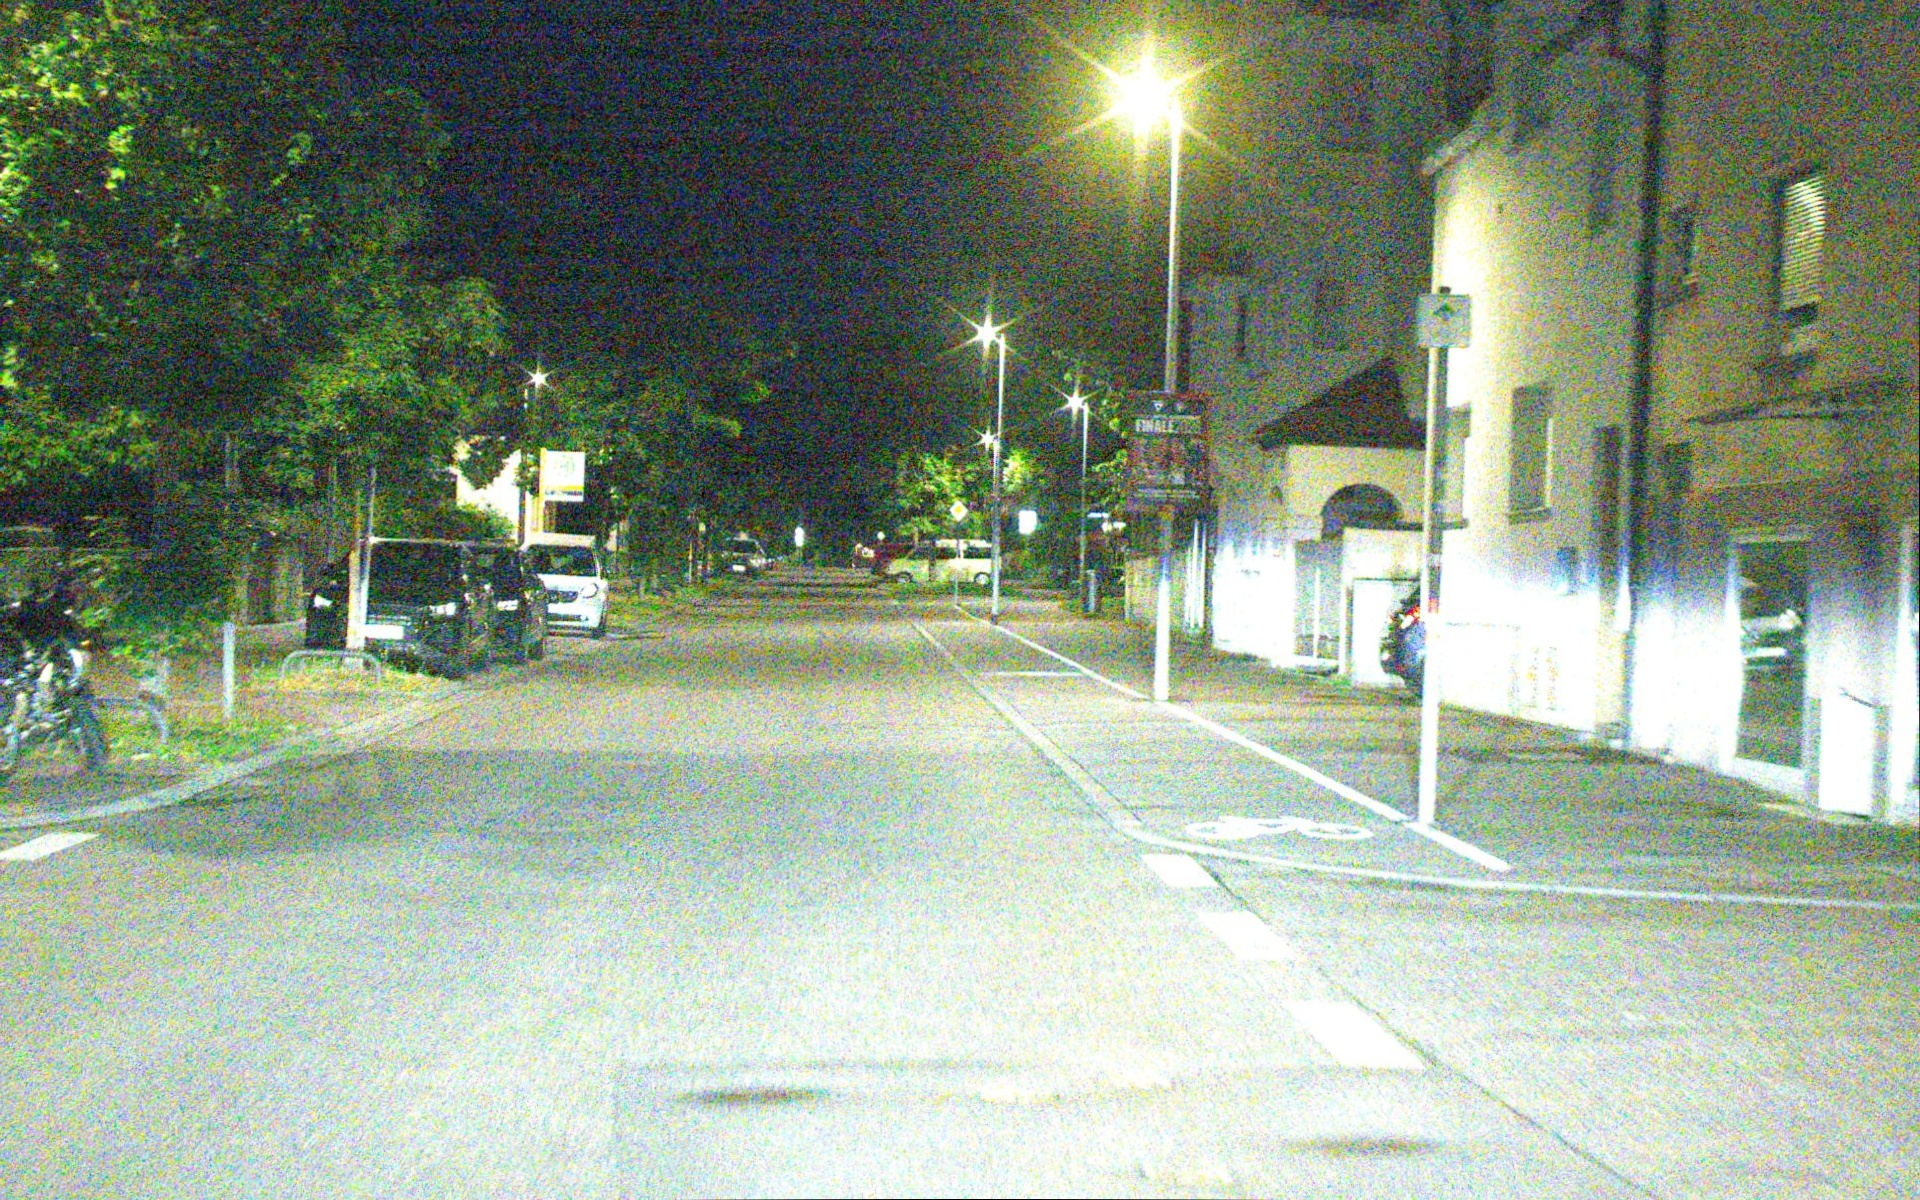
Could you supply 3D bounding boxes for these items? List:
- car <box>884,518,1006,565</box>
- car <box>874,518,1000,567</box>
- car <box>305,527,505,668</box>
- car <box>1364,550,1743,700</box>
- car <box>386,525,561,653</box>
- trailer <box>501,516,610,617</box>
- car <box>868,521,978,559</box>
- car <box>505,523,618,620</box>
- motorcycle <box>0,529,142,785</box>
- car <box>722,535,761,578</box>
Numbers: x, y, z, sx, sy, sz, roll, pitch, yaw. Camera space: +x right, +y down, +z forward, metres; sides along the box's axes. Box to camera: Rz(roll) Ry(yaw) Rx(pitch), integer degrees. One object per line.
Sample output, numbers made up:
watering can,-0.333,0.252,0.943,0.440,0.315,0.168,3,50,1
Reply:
car,-0.662,-2.538,148.292,5.182,2.007,2.102,0,1,-3
car,-0.991,-2.448,145.214,5.182,2.007,2.102,0,1,-3
car,-6.337,-0.070,39.643,1.688,1.505,4.279,1,1,-1
car,6.254,0.249,36.512,3.711,1.468,1.730,1,1,1
car,-6.281,-0.183,44.781,1.766,1.514,4.279,2,1,-2
trailer,-7.262,-0.621,61.953,1.448,1.682,3.426,4,1,1
car,-1.834,-2.968,169.973,5.184,1.880,2.101,0,1,8
car,-6.782,-0.512,58.737,1.671,1.516,2.979,3,1,-3
motorcycle,-5.659,0.298,20.611,0.746,1.447,2.195,1,1,6
car,-10.705,-2.133,168.611,1.824,1.980,4.466,3,0,-3
